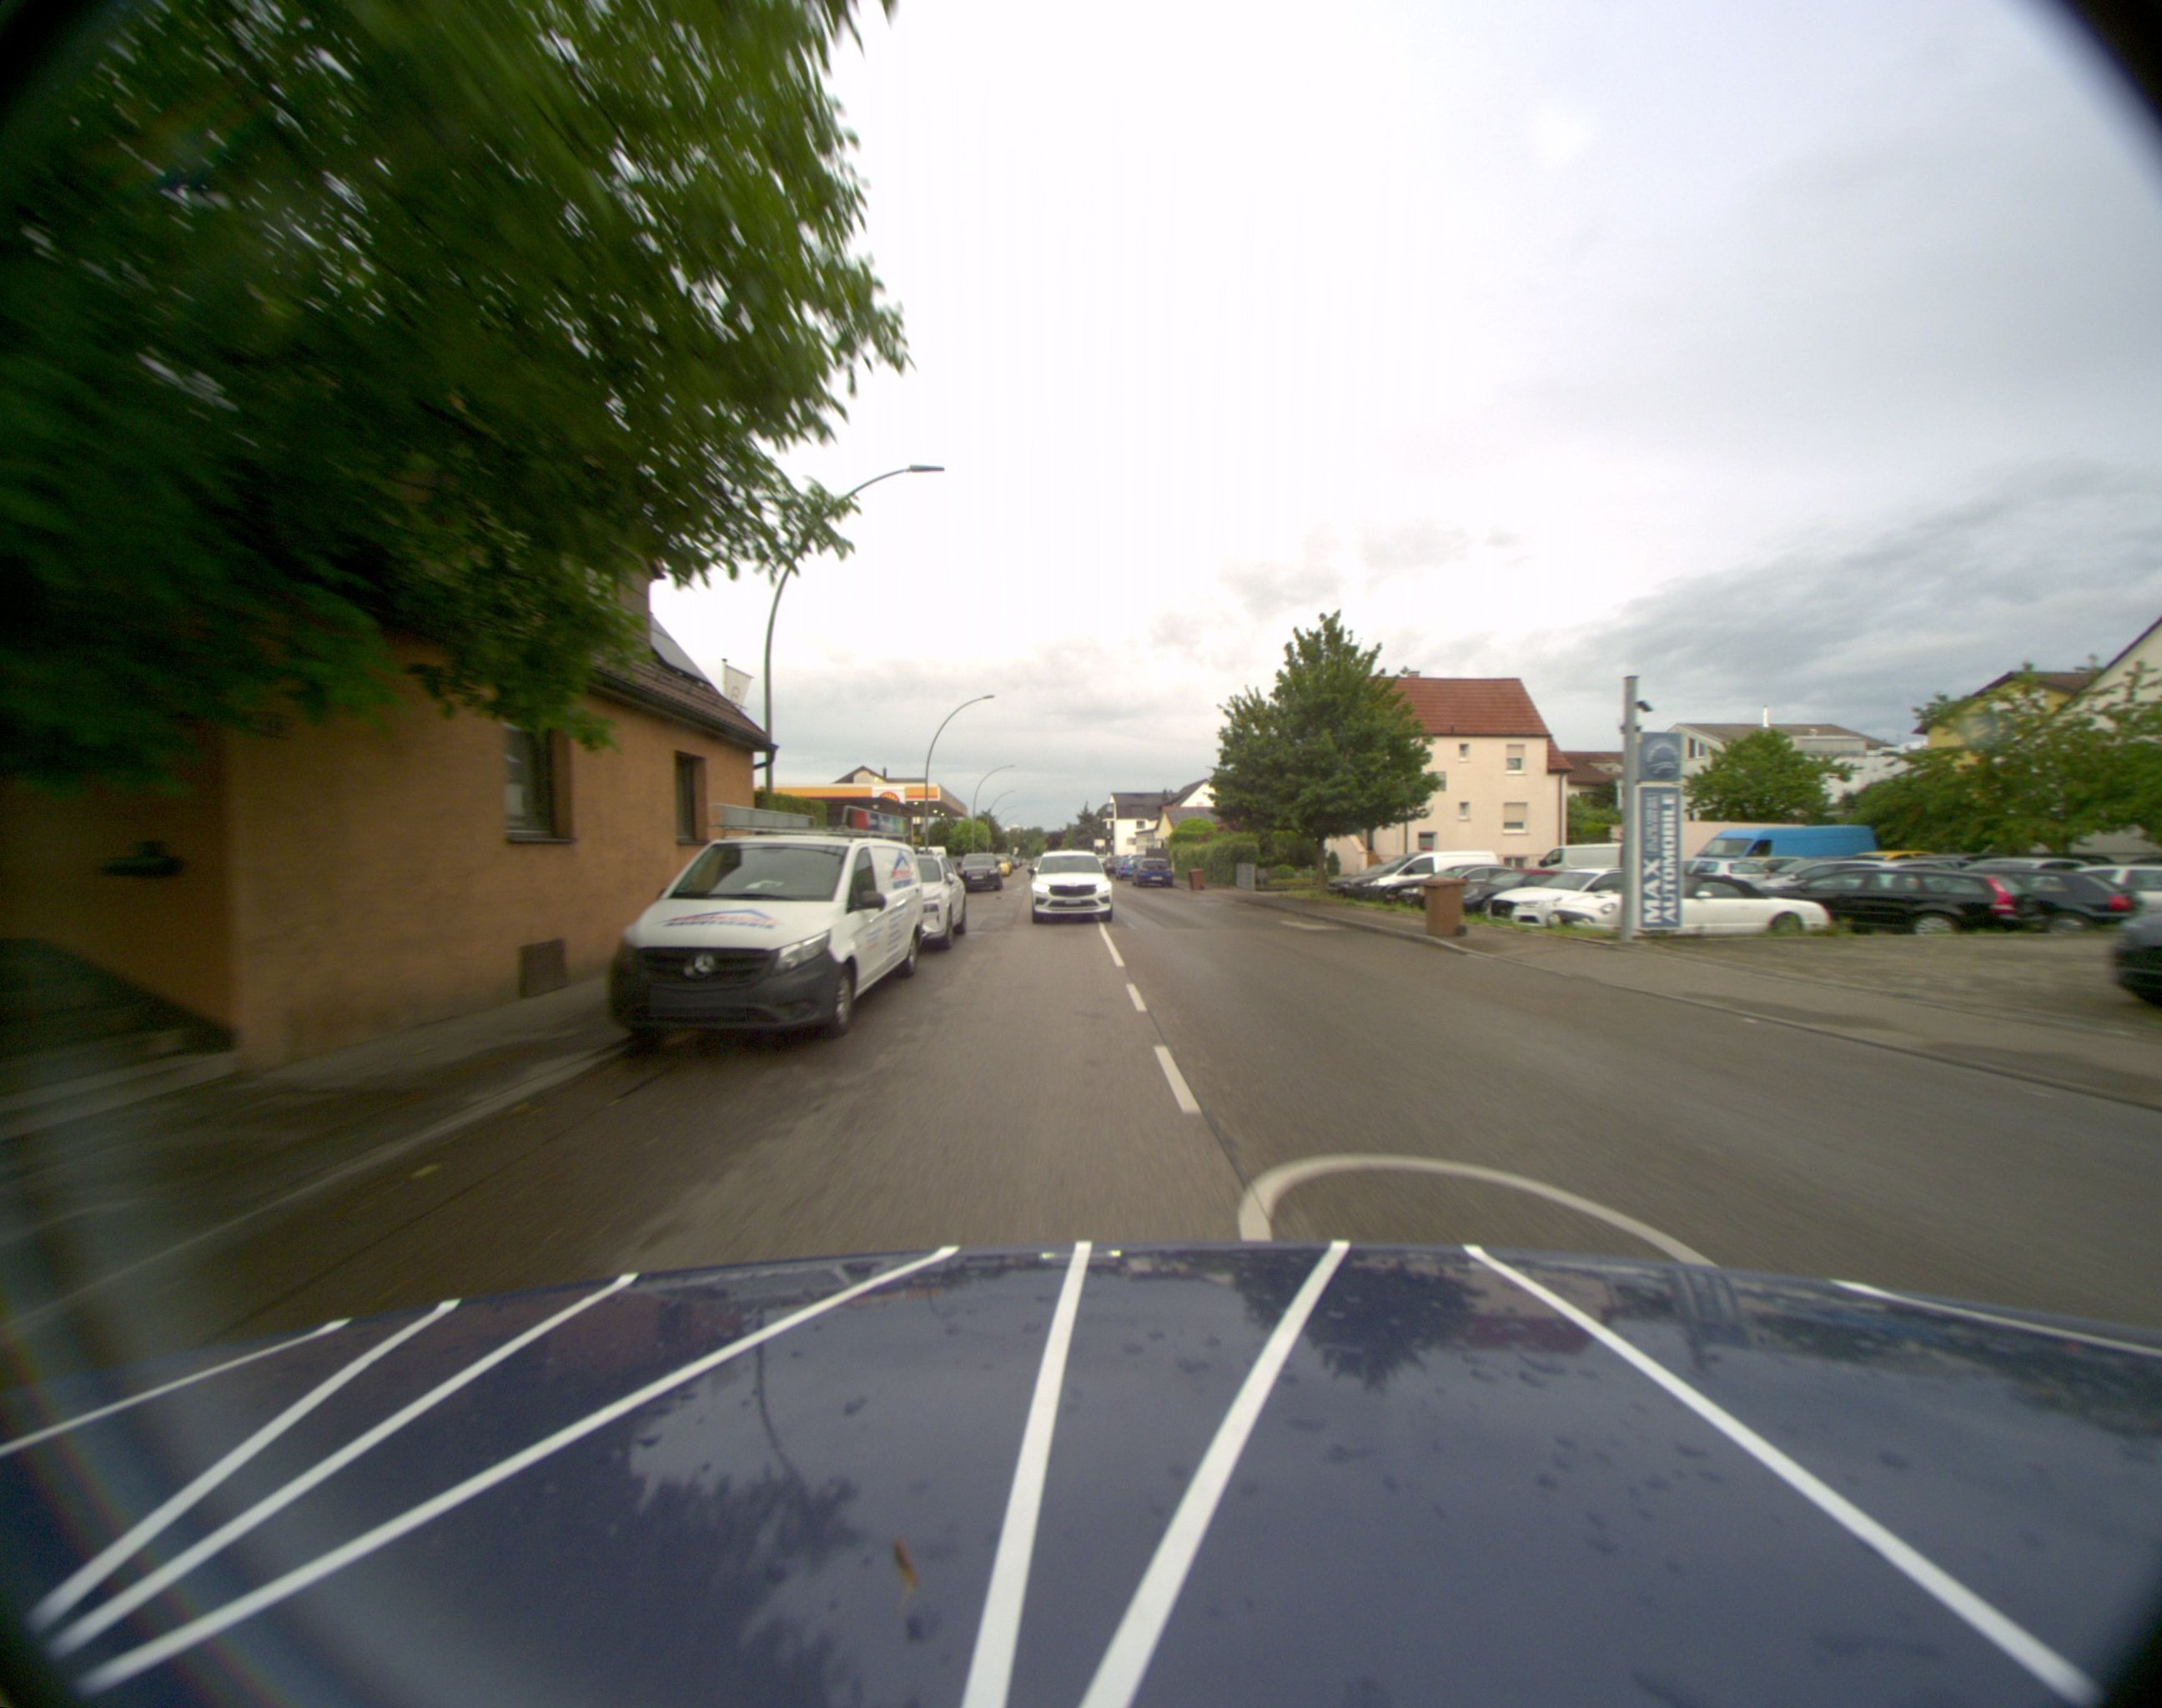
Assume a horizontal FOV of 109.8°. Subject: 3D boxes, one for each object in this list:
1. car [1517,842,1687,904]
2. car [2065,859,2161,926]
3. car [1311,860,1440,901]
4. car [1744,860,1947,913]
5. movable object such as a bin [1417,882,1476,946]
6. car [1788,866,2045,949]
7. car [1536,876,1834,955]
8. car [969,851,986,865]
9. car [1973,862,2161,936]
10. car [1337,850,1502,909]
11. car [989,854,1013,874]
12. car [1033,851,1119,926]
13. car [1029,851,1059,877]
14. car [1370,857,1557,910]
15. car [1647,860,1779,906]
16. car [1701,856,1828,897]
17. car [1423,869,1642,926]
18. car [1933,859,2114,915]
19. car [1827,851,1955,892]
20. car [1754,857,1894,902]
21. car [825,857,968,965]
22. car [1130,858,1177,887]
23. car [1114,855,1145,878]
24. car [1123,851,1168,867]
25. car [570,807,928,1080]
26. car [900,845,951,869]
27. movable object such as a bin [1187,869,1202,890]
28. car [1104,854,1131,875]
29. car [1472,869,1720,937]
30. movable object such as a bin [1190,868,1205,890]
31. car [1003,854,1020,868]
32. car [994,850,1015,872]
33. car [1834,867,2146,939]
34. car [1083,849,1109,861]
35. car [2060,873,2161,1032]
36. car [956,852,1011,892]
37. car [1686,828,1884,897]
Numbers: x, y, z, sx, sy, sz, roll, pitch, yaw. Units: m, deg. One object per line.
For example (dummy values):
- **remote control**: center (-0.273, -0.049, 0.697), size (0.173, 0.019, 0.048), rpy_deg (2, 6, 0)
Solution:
- **car**: center (17.573, 0.587, 26.026), size (2.000, 1.919, 5.051), rpy_deg (0, 0, -6)
- **car**: center (24.089, 0.839, 16.432), size (1.340, 1.407, 3.226), rpy_deg (0, 0, -27)
- **car**: center (10.407, 0.912, 27.019), size (3.924, 1.364, 1.760), rpy_deg (0, 0, -8)
- **car**: center (20.370, 0.811, 20.456), size (1.664, 1.228, 3.530), rpy_deg (-1, 0, -9)
- **movable object such as a bin**: center (6.739, 1.092, 14.045), size (0.710, 1.123, 0.735), rpy_deg (-1, 1, -3)
- **car**: center (16.629, 0.981, 15.296), size (1.340, 1.407, 3.226), rpy_deg (0, 0, -27)
- **car**: center (11.469, 1.124, 14.614), size (4.464, 1.324, 1.770), rpy_deg (0, 0, -4)
- **car**: center (-12.391, 0.483, 91.127), size (2.000, 1.673, 3.997), rpy_deg (0, 0, -8)
- **car**: center (21.371, 0.889, 15.934), size (1.340, 1.407, 3.226), rpy_deg (0, 0, -26)
- **car**: center (10.914, 0.778, 24.630), size (4.572, 1.780, 1.896), rpy_deg (0, 0, -8)
- **car**: center (-5.974, 0.713, 56.925), size (1.661, 1.393, 3.800), rpy_deg (-1, 0, -4)
- **car**: center (-0.260, 0.786, 19.173), size (1.885, 1.650, 4.829), rpy_deg (0, 0, -4)
- **car**: center (-2.407, 0.626, 48.501), size (1.778, 1.552, 3.998), rpy_deg (-2, 0, -5)
- **car**: center (11.009, 0.817, 22.017), size (4.572, 1.410, 1.896), rpy_deg (0, 0, -8)
- **car**: center (19.820, 0.873, 23.987), size (1.389, 1.325, 3.114), rpy_deg (0, 0, -6)
- **car**: center (22.887, 0.730, 25.491), size (3.232, 1.325, 1.337), rpy_deg (0, 0, -6)
- **car**: center (11.440, 1.070, 19.444), size (4.570, 1.302, 1.888), rpy_deg (0, 0, -4)
- **car**: center (23.860, 0.809, 19.289), size (3.232, 1.325, 1.337), rpy_deg (0, 0, -6)
- **car**: center (27.885, 0.581, 26.191), size (3.232, 1.325, 1.337), rpy_deg (0, 0, -6)
- **car**: center (23.039, 0.768, 23.606), size (3.232, 1.325, 1.337), rpy_deg (0, 0, -6)
- **car**: center (-3.248, 0.912, 14.252), size (1.871, 1.655, 4.318), rpy_deg (-1, 0, -4)
- **car**: center (3.655, 0.924, 39.114), size (1.812, 1.395, 3.943), rpy_deg (1, 0, -4)
- **car**: center (3.155, 0.795, 49.656), size (1.550, 1.395, 3.596), rpy_deg (1, 0, -4)
- **car**: center (6.311, 0.484, 75.022), size (4.097, 1.505, 1.882), rpy_deg (0, 0, -8)
- **car**: center (-2.998, 0.706, 8.161), size (1.782, 2.017, 4.753), rpy_deg (-2, -1, -1)
- **car**: center (-16.340, 0.292, 79.671), size (4.811, 2.506, 2.243), rpy_deg (0, 0, -25)
- **movable object such as a bin**: center (5.151, 1.133, 34.423), size (0.541, 0.905, 0.505), rpy_deg (-3, 1, -5)
- **car**: center (2.732, 0.747, 57.413), size (1.613, 1.497, 3.706), rpy_deg (1, 0, -4)
- **car**: center (11.441, 1.048, 17.081), size (4.389, 1.366, 1.888), rpy_deg (0, 0, -4)
- **movable object such as a bin**: center (5.208, 1.118, 33.942), size (0.541, 0.905, 0.424), rpy_deg (-3, 1, -5)
- **car**: center (-8.128, 0.825, 88.767), size (1.999, 1.586, 3.998), rpy_deg (0, 0, -5)
- **car**: center (-6.725, 0.593, 67.283), size (1.661, 1.728, 4.442), rpy_deg (-3, 0, -4)
- **car**: center (19.168, 0.960, 16.326), size (1.621, 1.250, 3.995), rpy_deg (0, 0, -13)
- **car**: center (2.397, 0.242, 122.859), size (3.999, 1.637, 1.999), rpy_deg (-4, 0, -6)
- **car**: center (12.131, 0.913, 7.014), size (3.998, 1.455, 1.839), rpy_deg (-1, 0, -3)
- **car**: center (-4.389, 0.797, 35.008), size (2.097, 1.652, 4.558), rpy_deg (-2, -1, -3)
- **car**: center (26.012, 0.283, 28.181), size (5.686, 2.361, 2.046), rpy_deg (-1, 1, -4)
